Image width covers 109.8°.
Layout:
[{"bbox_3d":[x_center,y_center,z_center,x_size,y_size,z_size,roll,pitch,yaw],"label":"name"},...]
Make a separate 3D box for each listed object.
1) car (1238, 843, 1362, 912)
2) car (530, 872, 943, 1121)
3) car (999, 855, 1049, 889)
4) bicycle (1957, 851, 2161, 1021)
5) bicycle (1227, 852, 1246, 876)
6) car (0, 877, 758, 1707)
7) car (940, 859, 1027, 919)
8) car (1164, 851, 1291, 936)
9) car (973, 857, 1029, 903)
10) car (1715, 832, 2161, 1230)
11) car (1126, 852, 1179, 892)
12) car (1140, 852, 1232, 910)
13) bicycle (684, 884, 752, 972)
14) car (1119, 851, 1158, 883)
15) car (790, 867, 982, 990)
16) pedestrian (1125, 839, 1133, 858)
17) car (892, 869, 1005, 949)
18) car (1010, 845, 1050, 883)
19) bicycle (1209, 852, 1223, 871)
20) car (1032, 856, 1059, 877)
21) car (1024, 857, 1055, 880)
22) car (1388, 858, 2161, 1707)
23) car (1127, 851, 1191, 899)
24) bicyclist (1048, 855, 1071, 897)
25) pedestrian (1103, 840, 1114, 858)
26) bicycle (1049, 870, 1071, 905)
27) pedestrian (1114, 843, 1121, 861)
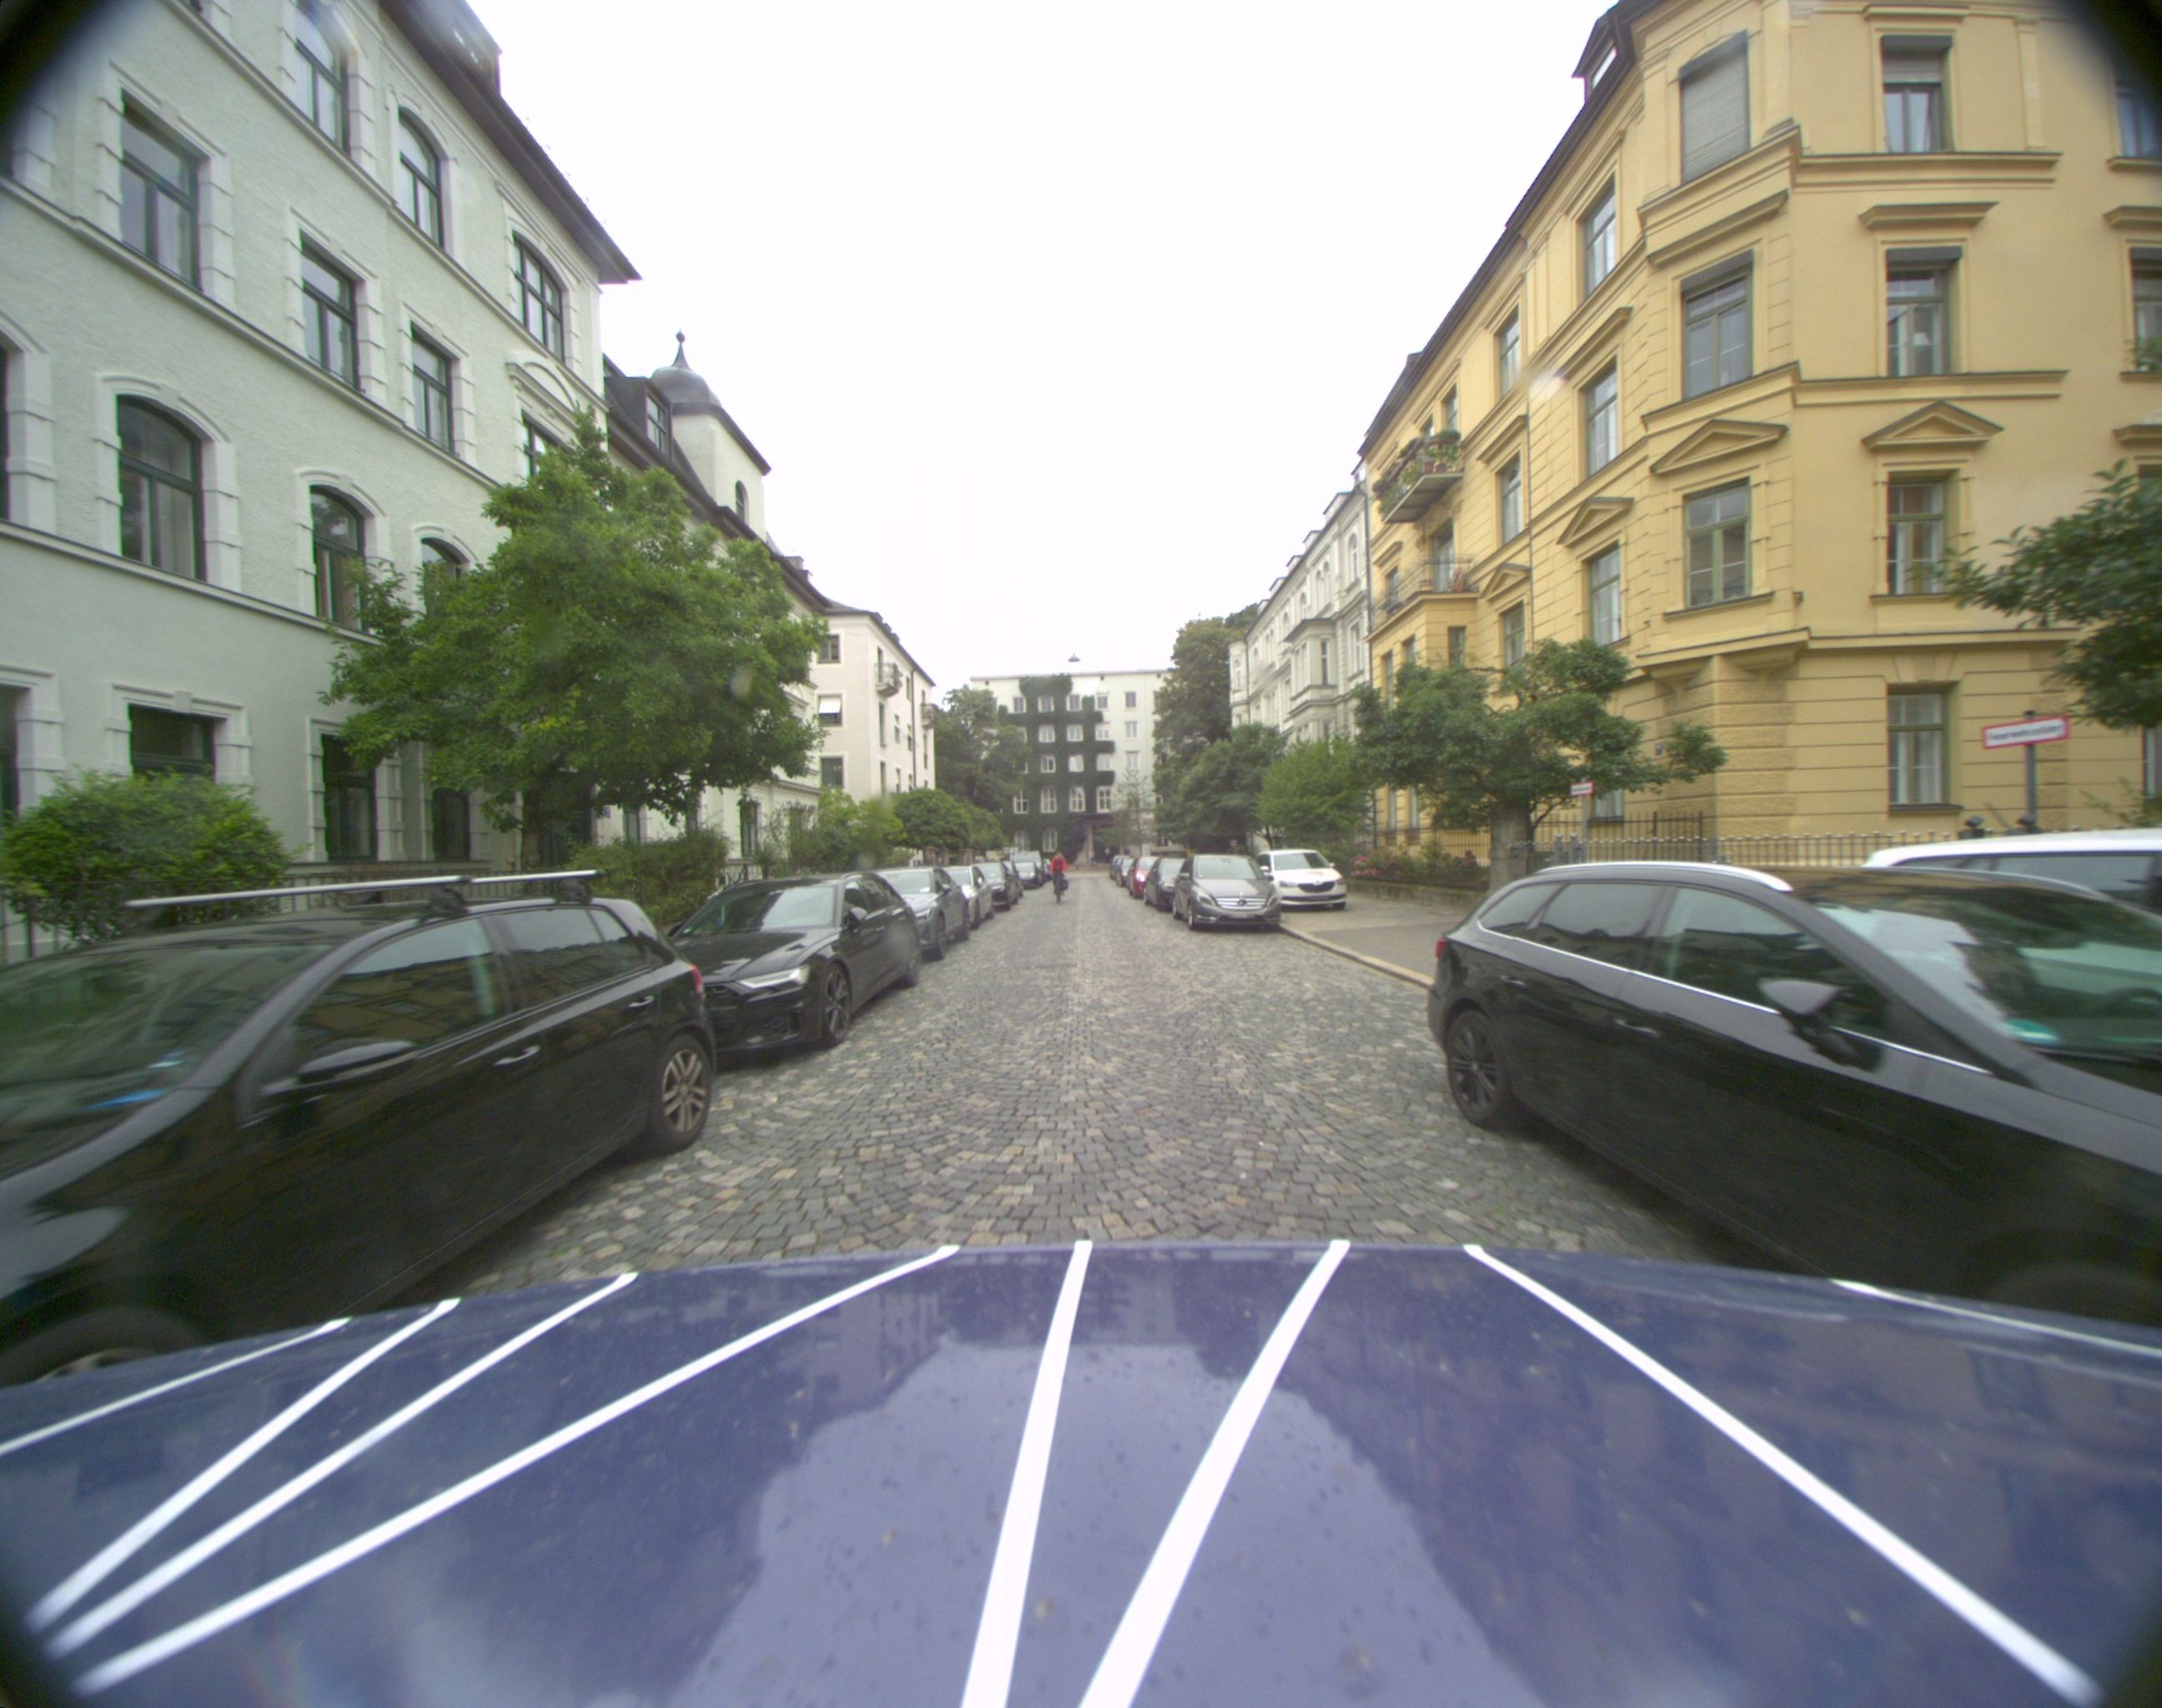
[{"bbox_3d":[5.381,0.512,19.299,1.846,1.457,4.389,-3,1,1],"label":"car"},{"bbox_3d":[-2.914,1.080,7.939,1.823,1.480,5.049,-5,0,1],"label":"car"},{"bbox_3d":[-2.881,0.876,39.297,1.942,1.457,4.532,-4,0,2],"label":"car"},{"bbox_3d":[8.437,0.617,6.022,0.607,1.251,2.060,-2,1,1],"label":"bicycle"},{"bbox_3d":[7.897,0.510,38.645,0.510,1.118,1.790,-5,1,1],"label":"bicycle"},{"bbox_3d":[-3.081,1.038,2.735,1.898,1.644,4.293,-3,1,0],"label":"car"},{"bbox_3d":[-2.923,1.004,23.984,1.909,1.494,5.105,-5,0,1],"label":"car"},{"bbox_3d":[3.006,0.732,16.459,1.744,1.577,4.190,-1,1,-3],"label":"car"},{"bbox_3d":[-3.015,0.946,29.263,1.671,1.499,3.685,-4,1,0],"label":"car"},{"bbox_3d":[5.177,0.702,2.887,1.744,1.527,4.466,-3,1,0],"label":"car"},{"bbox_3d":[3.073,0.732,33.460,1.822,1.500,4.641,1,1,0],"label":"car"},{"bbox_3d":[2.905,0.689,22.131,1.875,1.461,5.132,-1,1,-1],"label":"car"},{"bbox_3d":[-5.604,1.104,11.821,0.582,1.188,1.646,-3,1,-14],"label":"bicycle"},{"bbox_3d":[2.855,0.622,38.602,1.814,1.490,4.510,-1,1,2],"label":"car"},{"bbox_3d":[-3.055,1.090,13.084,1.887,1.480,4.813,-4,0,1],"label":"car"},{"bbox_3d":[5.139,-0.595,81.640,0.666,1.905,0.863,-3,1,9],"label":"pedestrian"},{"bbox_3d":[-3.024,1.214,18.329,1.760,1.451,4.480,-4,1,1],"label":"car"},{"bbox_3d":[-2.935,0.532,44.889,1.999,1.958,4.965,-5,1,-1],"label":"car"},{"bbox_3d":[7.965,0.455,45.022,0.464,1.045,1.695,-5,1,1],"label":"bicycle"},{"bbox_3d":[-2.526,0.875,55.122,1.744,1.367,4.281,-1,1,0],"label":"car"},{"bbox_3d":[-2.705,0.935,50.055,1.744,1.367,4.181,-1,1,0],"label":"car"},{"bbox_3d":[2.924,0.849,2.790,1.744,1.594,4.536,-1,1,0],"label":"car"},{"bbox_3d":[2.776,0.702,27.917,1.846,1.577,4.191,-1,1,-1],"label":"car"},{"bbox_3d":[-0.705,0.717,25.070,0.648,1.350,0.656,-3,1,0],"label":"bicyclist"},{"bbox_3d":[2.960,-0.522,81.594,0.703,1.905,0.861,-5,2,-31],"label":"pedestrian"},{"bbox_3d":[-0.693,1.091,25.221,0.636,1.021,1.955,-3,1,0],"label":"bicycle"},{"bbox_3d":[3.944,-0.223,81.890,0.701,1.905,0.863,-4,1,3],"label":"pedestrian"}]
